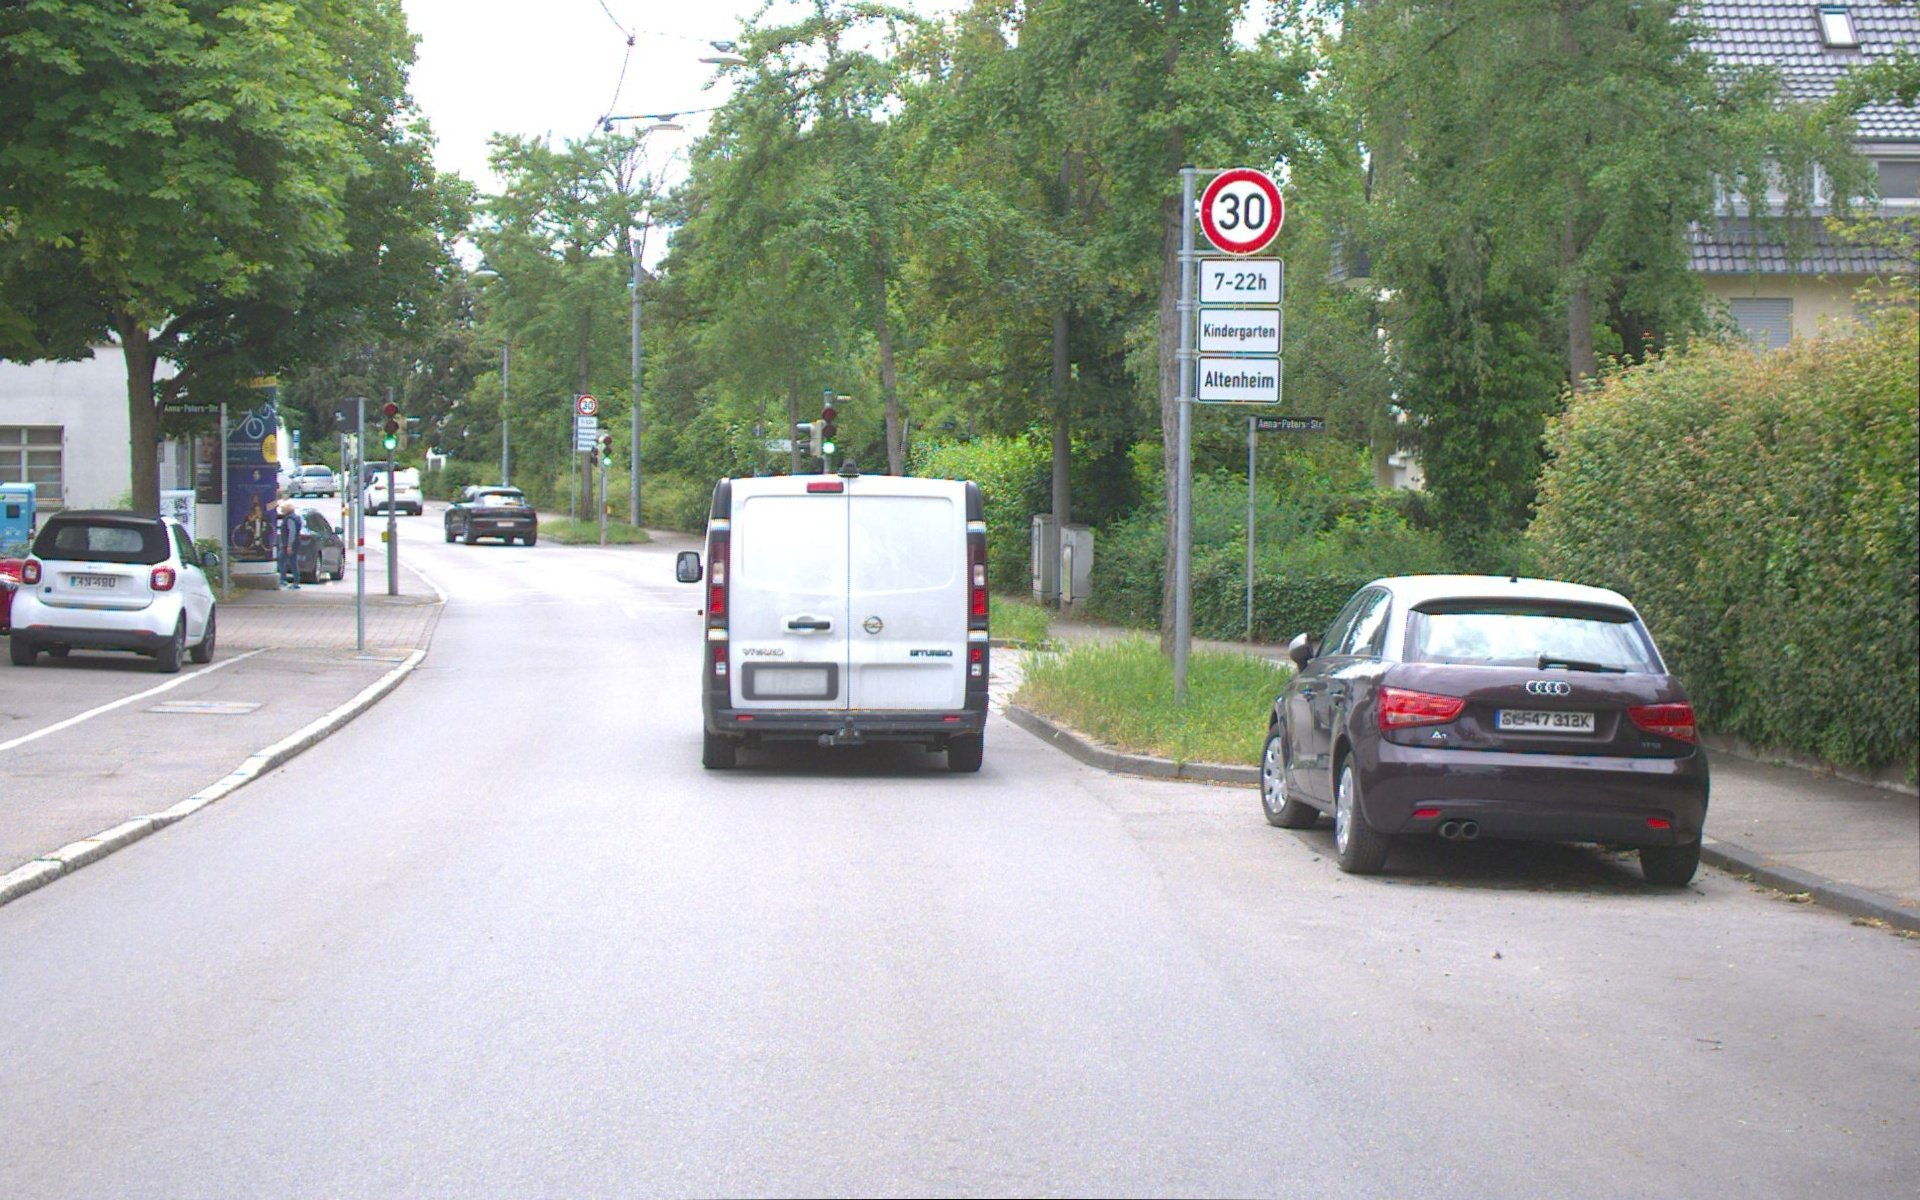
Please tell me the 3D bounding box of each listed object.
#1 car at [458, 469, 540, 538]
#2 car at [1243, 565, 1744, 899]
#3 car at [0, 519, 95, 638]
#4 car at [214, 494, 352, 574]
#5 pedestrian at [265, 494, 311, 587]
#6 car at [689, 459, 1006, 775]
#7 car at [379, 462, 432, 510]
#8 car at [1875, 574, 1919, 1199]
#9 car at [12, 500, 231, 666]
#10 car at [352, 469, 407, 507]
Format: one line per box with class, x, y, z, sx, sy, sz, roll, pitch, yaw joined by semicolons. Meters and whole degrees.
car;-12.805;-2.689;95.287;1.896;1.853;4.406;1;2;-12
car;2.562;0.578;17.385;1.709;1.408;3.791;2;1;-3
car;-13.884;-0.337;45.948;4.224;1.427;1.815;1;5;22
car;-13.116;-1.277;66.868;1.779;1.436;4.526;2;1;-1
pedestrian;-11.811;-1.052;60.445;0.697;1.610;0.715;1;3;-4
car;-0.880;0.038;23.868;1.929;1.957;4.403;1;2;-5
car;-20.621;-4.224;127.808;1.824;1.722;4.001;1;2;-11
car;3.102;0.733;6.203;1.709;1.482;3.791;1;1;-3
car;-8.448;-0.204;34.822;1.588;1.533;2.924;3;2;-3
car;-26.047;-5.027;154.113;1.893;1.605;4.502;1;2;-16
